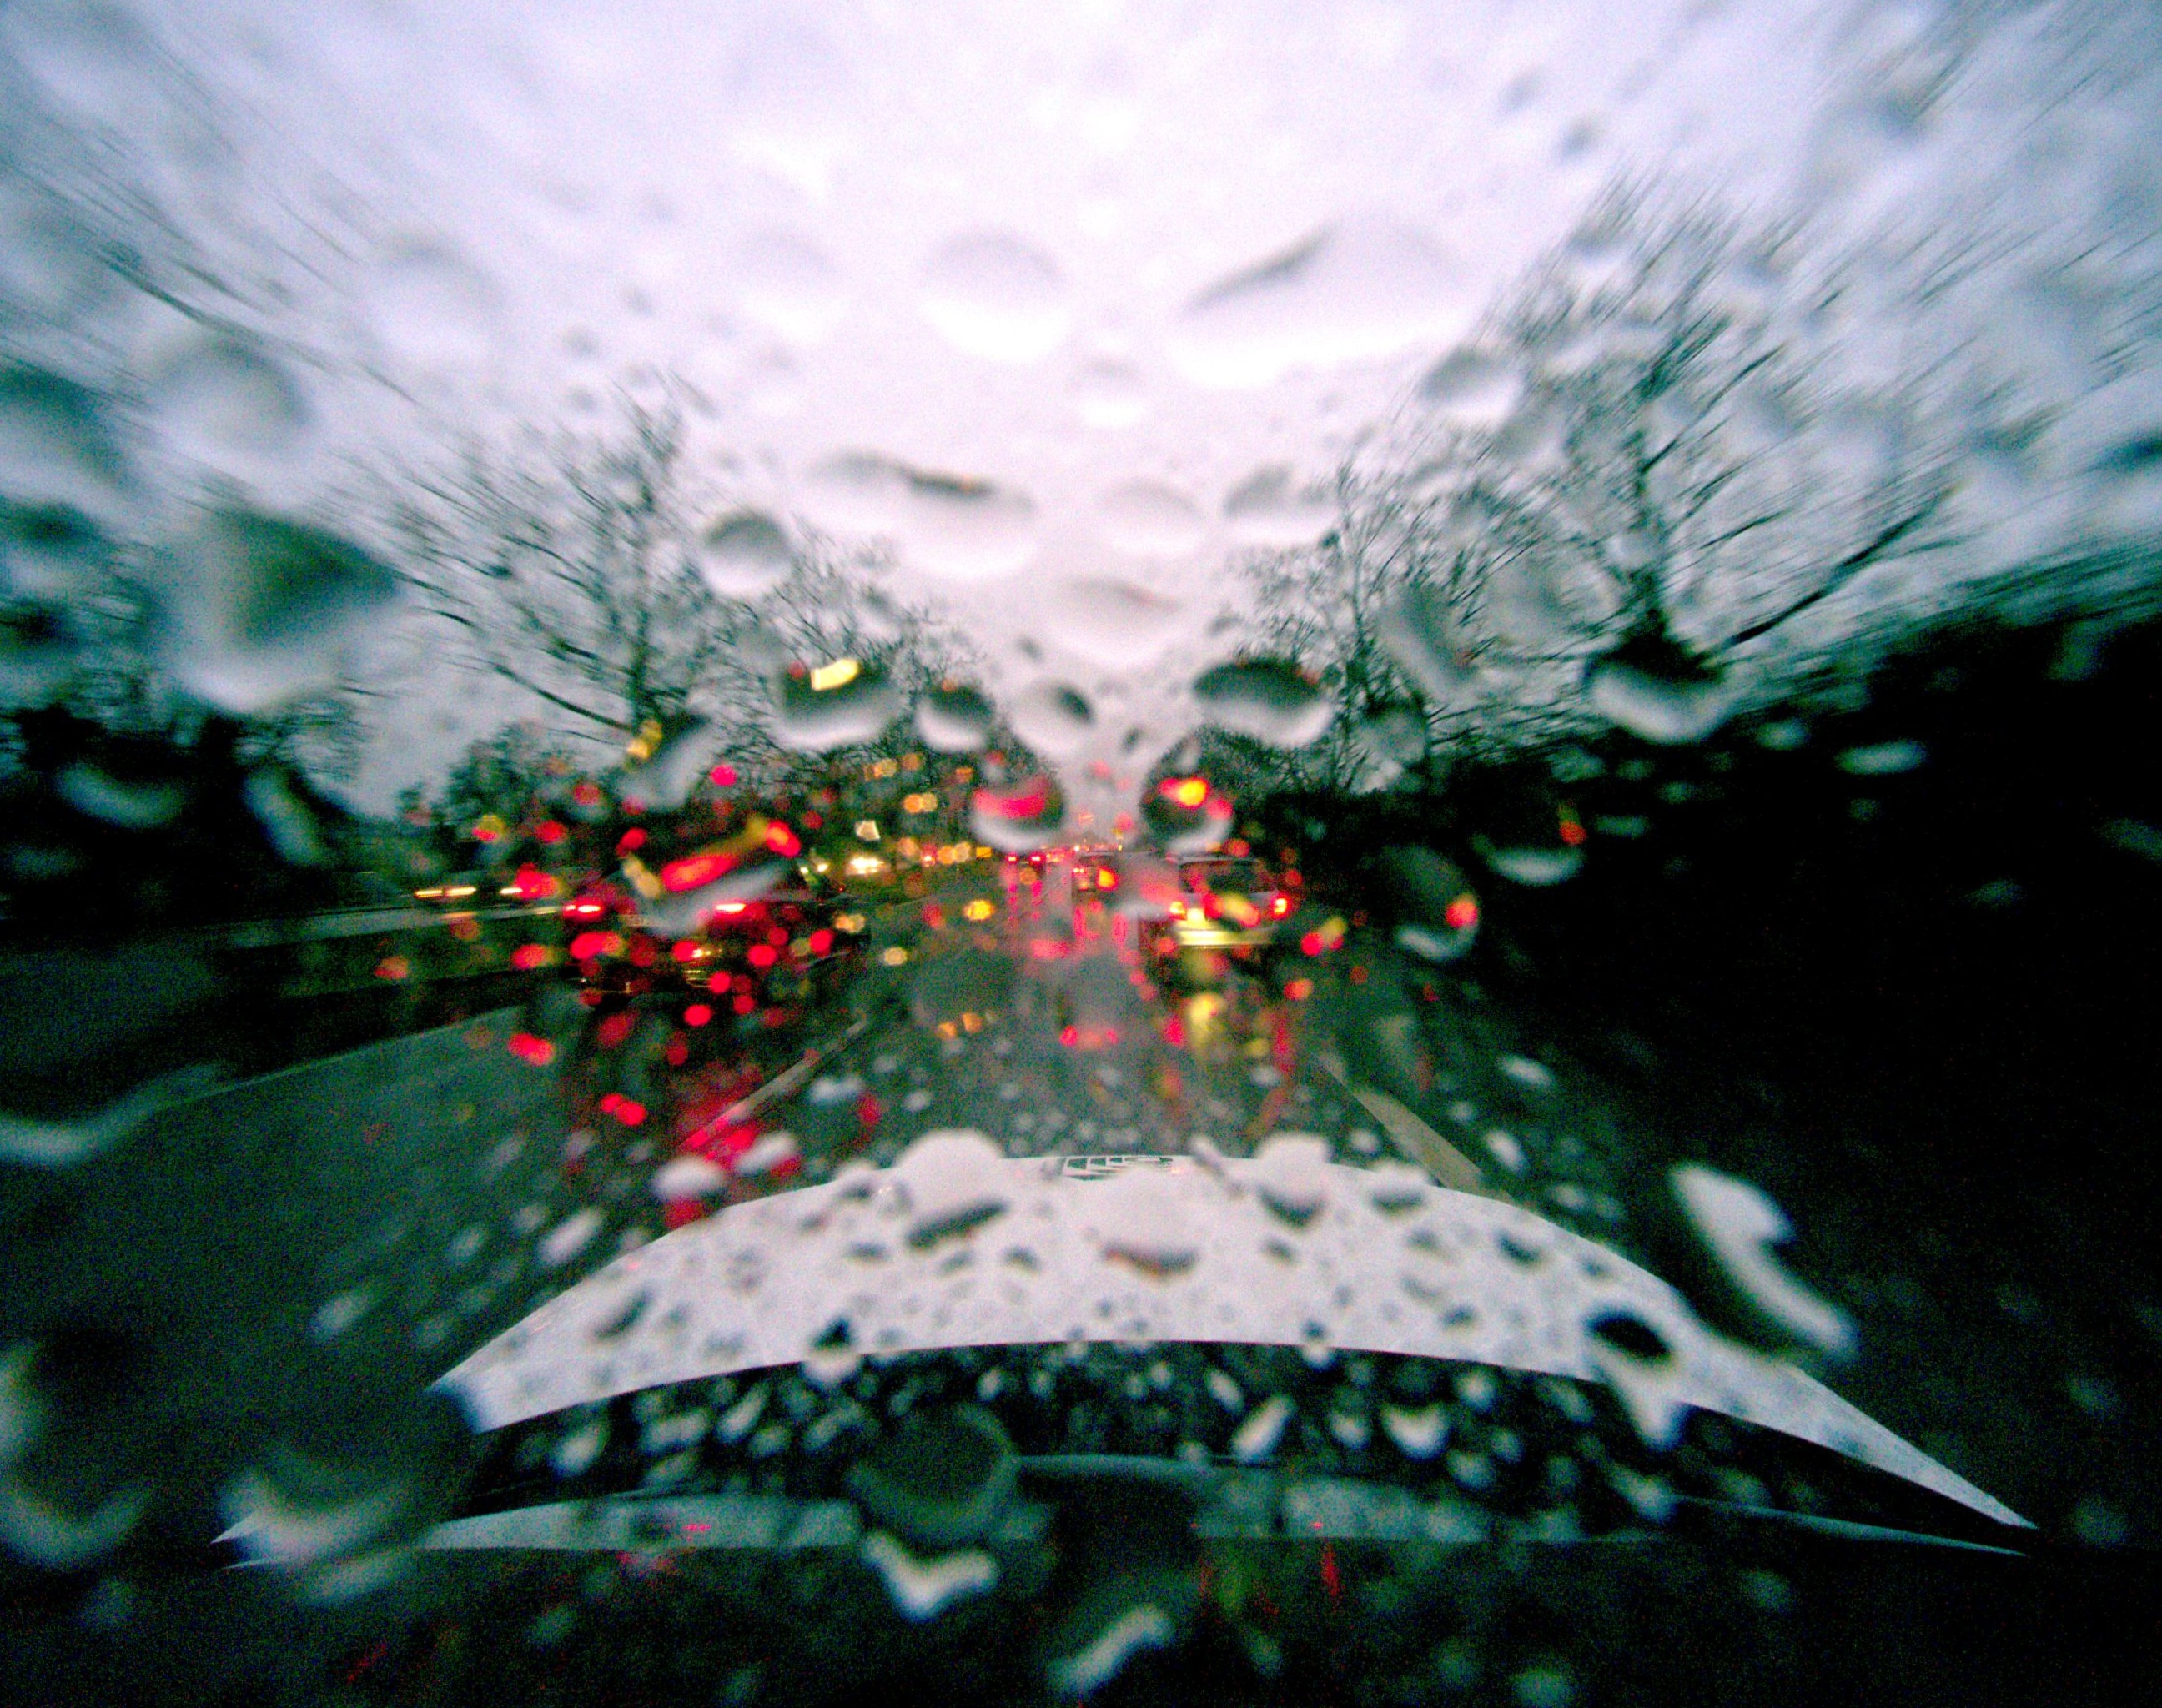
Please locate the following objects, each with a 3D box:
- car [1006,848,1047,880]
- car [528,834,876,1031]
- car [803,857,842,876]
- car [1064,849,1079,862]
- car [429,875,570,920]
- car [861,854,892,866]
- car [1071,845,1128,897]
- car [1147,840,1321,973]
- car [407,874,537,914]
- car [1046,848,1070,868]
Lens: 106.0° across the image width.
[{"bbox_3d":[-2.959,0.548,44.910,1.815,1.648,4.001,-2,0,2],"label":"car"},{"bbox_3d":[-3.838,0.695,9.274,1.816,1.648,4.466,-2,0,0],"label":"car"},{"bbox_3d":[-19.032,0.879,60.071,1.633,1.339,3.998,0,0,-1],"label":"car"},{"bbox_3d":[-1.087,0.171,93.565,1.499,1.339,4.001,-2,0,2],"label":"car"},{"bbox_3d":[-20.078,1.469,28.372,1.745,1.308,4.316,-1,0,1],"label":"car"},{"bbox_3d":[-21.288,0.606,84.903,1.986,1.191,4.002,0,-1,2],"label":"car"},{"bbox_3d":[0.664,0.564,28.126,1.815,1.648,4.468,0,-1,2],"label":"car"},{"bbox_3d":[2.075,0.685,12.331,1.926,1.648,4.468,0,-1,2],"label":"car"},{"bbox_3d":[-23.760,1.525,31.996,1.745,1.308,4.316,-1,0,1],"label":"car"},{"bbox_3d":[-2.016,0.339,72.272,1.816,1.648,4.001,-2,0,1],"label":"car"}]
